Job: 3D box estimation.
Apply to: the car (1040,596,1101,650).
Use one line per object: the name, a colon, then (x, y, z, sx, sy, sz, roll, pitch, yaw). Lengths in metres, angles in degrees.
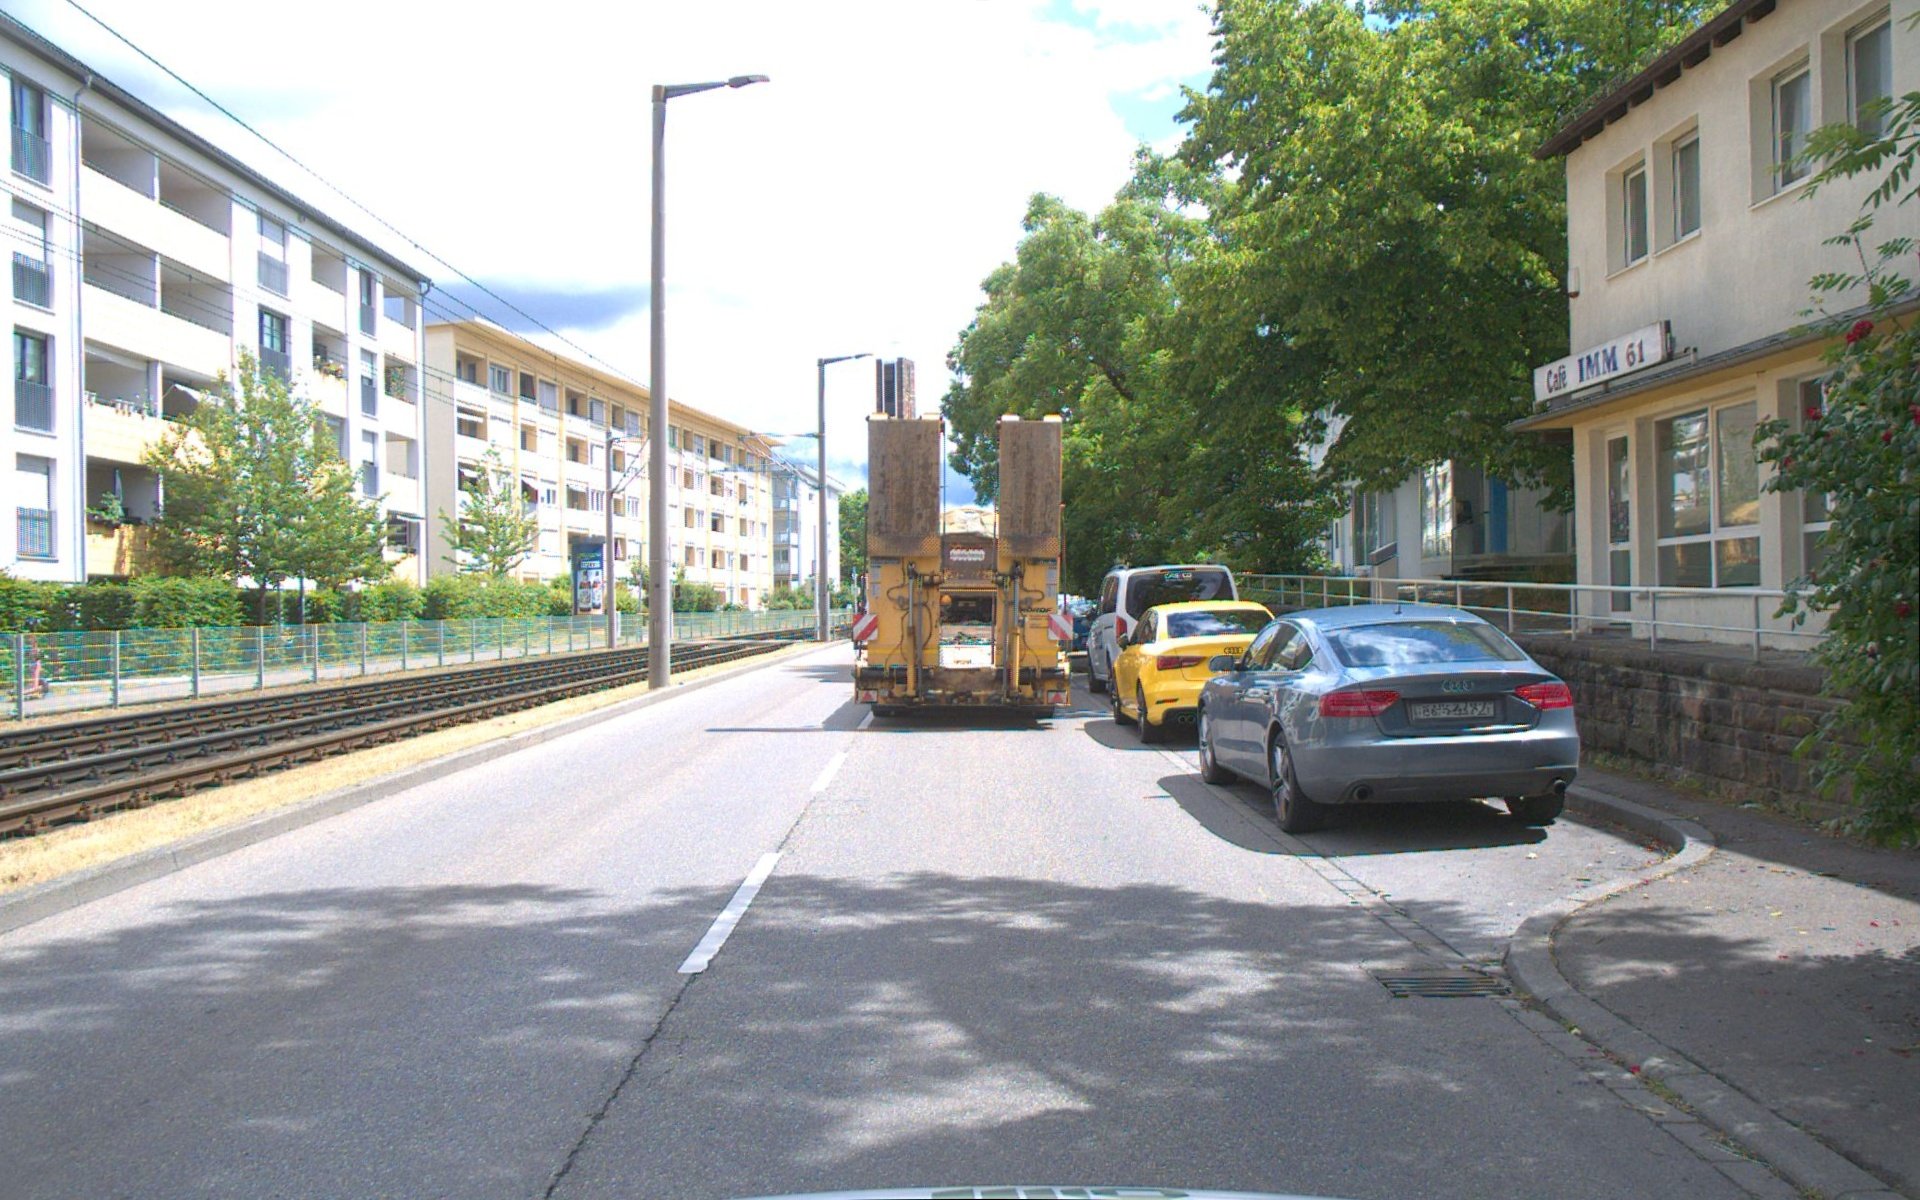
car: (3.258, 0.653, 49.344, 1.611, 1.516, 3.822, -1, 0, 1)

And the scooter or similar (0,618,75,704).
scooter or similar: (-14.645, 0.950, 26.252, 0.480, 1.315, 1.302, -1, 0, 0)

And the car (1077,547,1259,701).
car: (2.970, 0.318, 24.893, 1.875, 1.993, 5.743, -2, 0, -1)

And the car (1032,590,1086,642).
car: (3.517, 0.538, 58.885, 1.785, 1.711, 4.578, -1, 0, 3)

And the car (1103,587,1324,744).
car: (2.675, 0.635, 18.391, 1.719, 1.467, 4.340, -2, 0, 0)

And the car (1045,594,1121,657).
car: (3.135, 0.625, 42.822, 1.575, 1.482, 3.675, -2, 0, -1)

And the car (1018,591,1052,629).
car: (4.181, 0.539, 92.377, 1.762, 2.003, 4.591, -2, 0, 1)

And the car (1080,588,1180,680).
car: (3.090, 0.593, 30.480, 1.482, 1.560, 2.847, -2, 0, 0)

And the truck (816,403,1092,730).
truck: (-0.139, -0.408, 24.741, 3.060, 3.627, 12.457, -1, 0, -1)

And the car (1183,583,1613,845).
car: (2.857, 0.660, 11.869, 1.720, 1.467, 4.492, -2, 0, -2)
